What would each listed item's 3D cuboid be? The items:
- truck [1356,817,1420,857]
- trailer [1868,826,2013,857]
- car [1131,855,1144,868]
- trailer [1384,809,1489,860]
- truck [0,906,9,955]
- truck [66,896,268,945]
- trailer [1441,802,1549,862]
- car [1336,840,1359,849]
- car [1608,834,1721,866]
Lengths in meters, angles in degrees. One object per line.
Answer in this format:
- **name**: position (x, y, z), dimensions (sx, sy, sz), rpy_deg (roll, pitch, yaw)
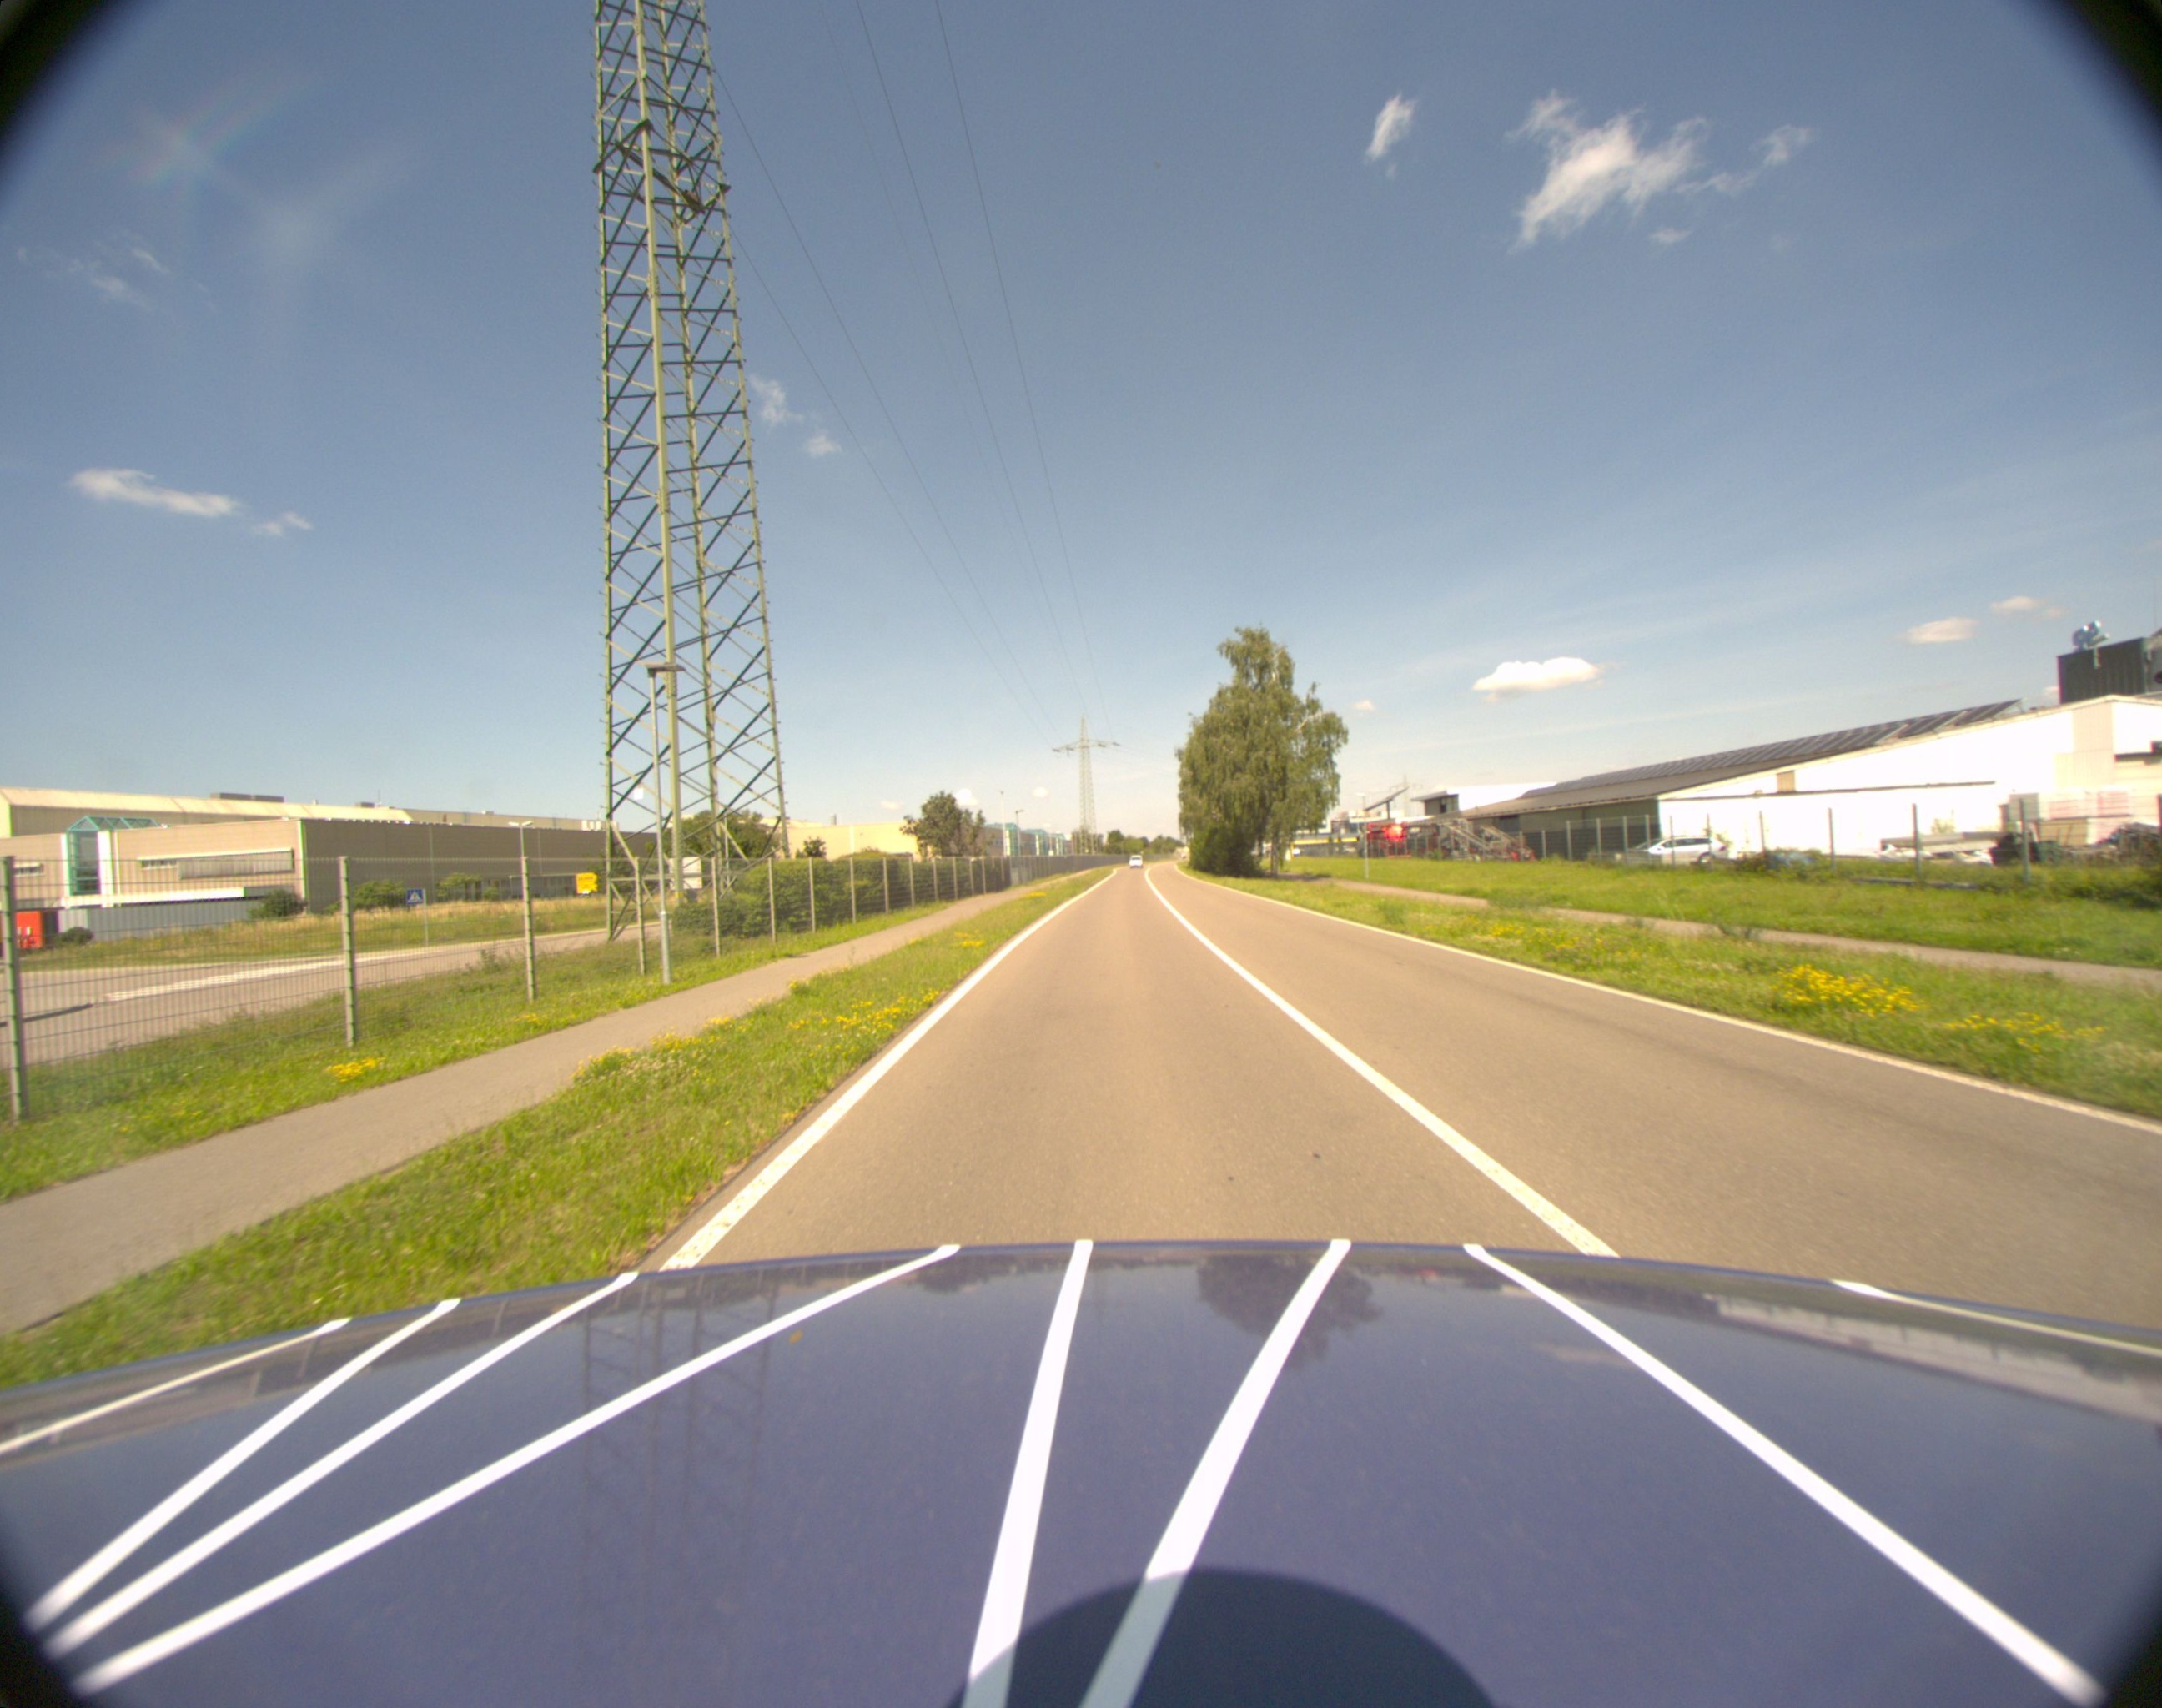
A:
- **truck**: position (30.544, -1.671, 76.227), dimensions (3.107, 3.624, 10.598), rpy_deg (-2, 1, 6)
- **trailer**: position (37.675, -0.548, 33.401), dimensions (3.995, 1.159, 1.905), rpy_deg (-2, 0, 6)
- **car**: position (8.495, 1.133, 113.800), dimensions (1.835, 1.796, 4.832), rpy_deg (-1, 0, 6)
- **trailer**: position (29.200, -1.531, 63.550), dimensions (3.297, 3.624, 14.930), rpy_deg (-2, 0, 6)
- **truck**: position (-75.926, 5.380, 45.870), dimensions (1.998, 3.342, 13.634), rpy_deg (-4, 0, 5)
- **truck**: position (-77.132, 5.463, 64.769), dimensions (1.998, 2.944, 11.856), rpy_deg (-4, 0, 5)
- **trailer**: position (27.930, -1.401, 51.841), dimensions (3.406, 3.624, 8.662), rpy_deg (-2, 1, 6)
- **car**: position (50.867, -1.767, 145.003), dimensions (2.002, 1.641, 3.993), rpy_deg (-2, 1, -19)
- **car**: position (28.255, -0.185, 36.890), dimensions (3.995, 1.335, 1.748), rpy_deg (-3, 0, 7)
